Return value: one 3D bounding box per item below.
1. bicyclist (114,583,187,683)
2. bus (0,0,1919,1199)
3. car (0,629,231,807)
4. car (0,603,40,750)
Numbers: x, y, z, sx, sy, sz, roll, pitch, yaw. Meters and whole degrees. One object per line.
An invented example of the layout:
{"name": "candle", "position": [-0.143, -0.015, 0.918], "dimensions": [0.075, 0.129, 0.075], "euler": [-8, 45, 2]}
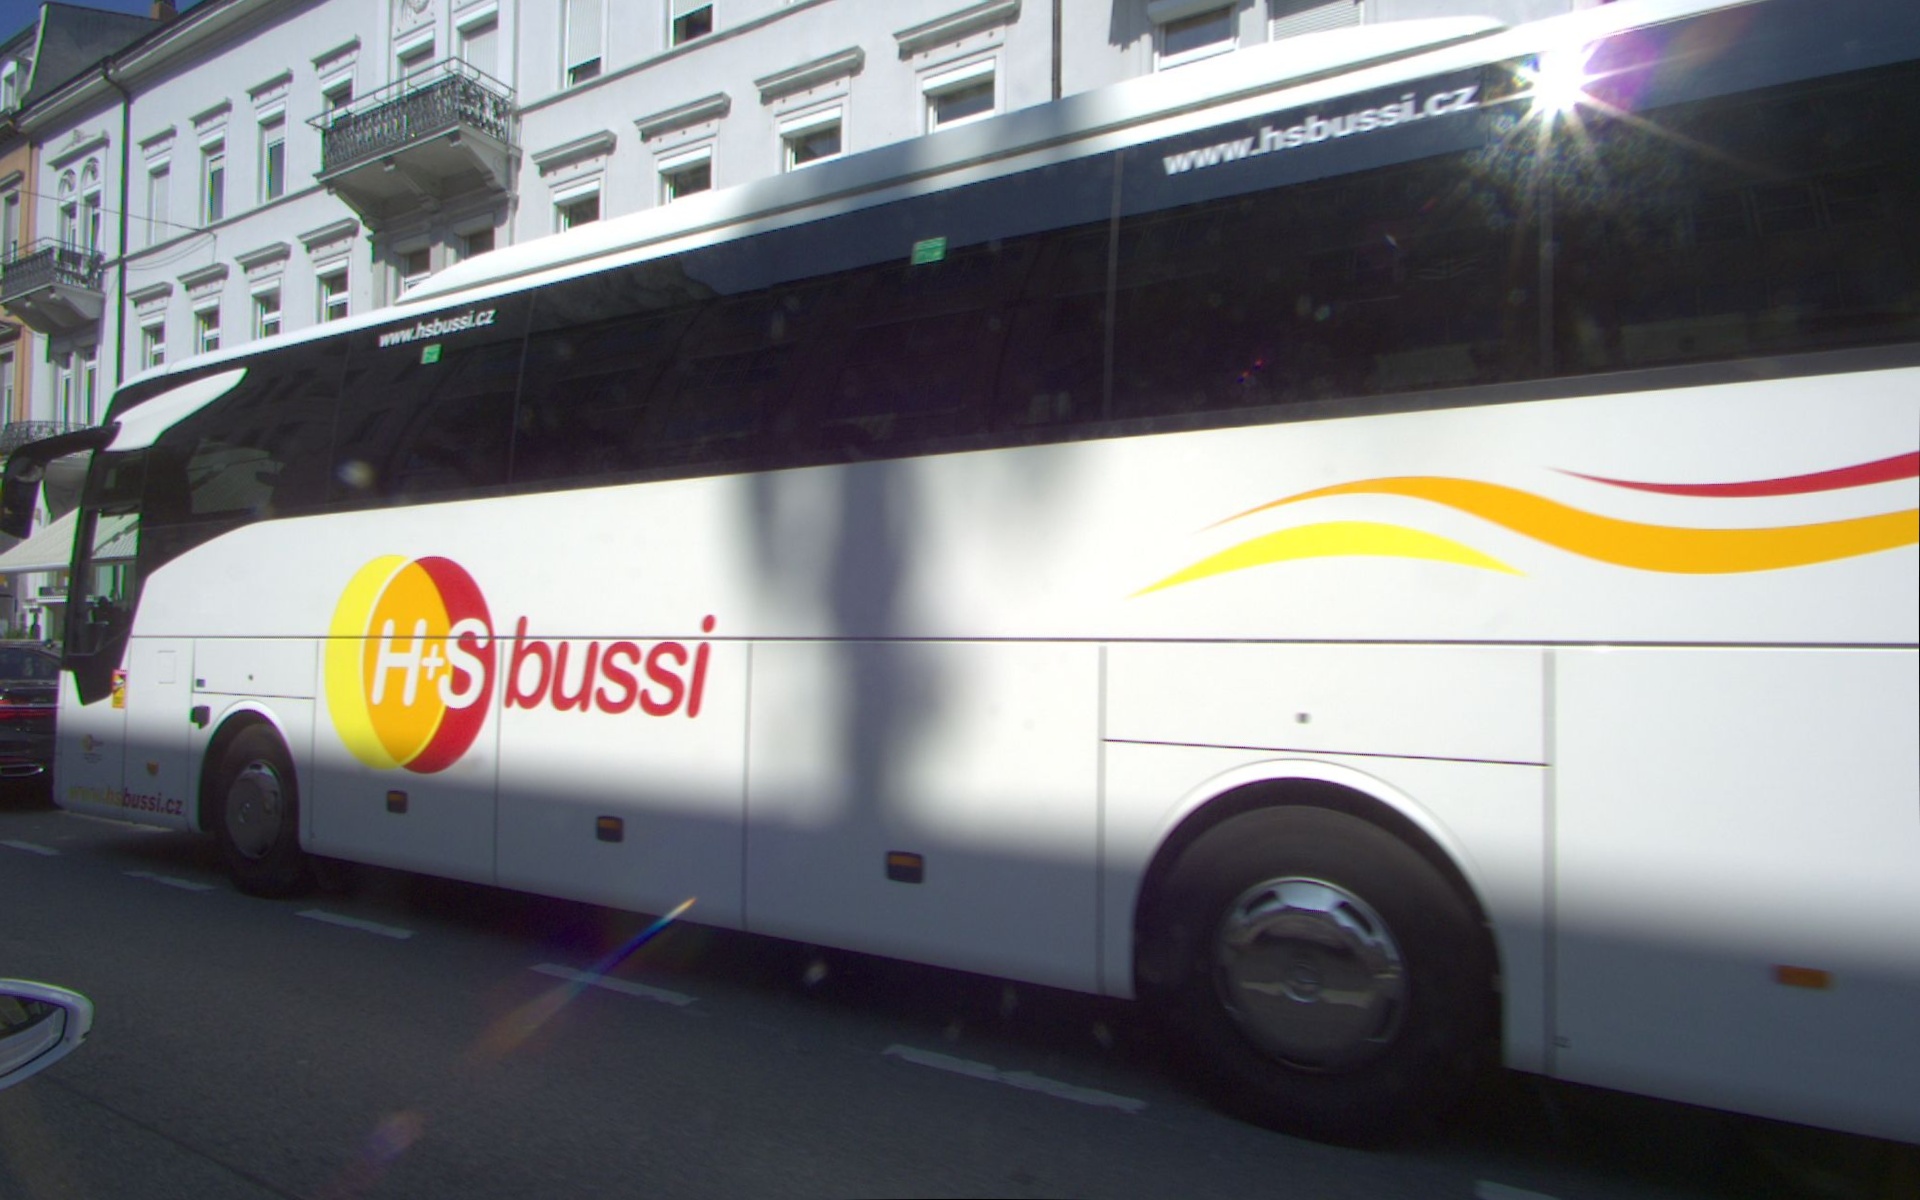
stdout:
{"name": "bicyclist", "position": [-14.294, 0.580, 17.688], "dimensions": [0.998, 1.706, 0.646], "euler": [0, -2, 30]}
{"name": "bus", "position": [-0.830, -0.154, 5.608], "dimensions": [12.232, 3.787, 2.883], "euler": [0, -4, 28]}
{"name": "car", "position": [-9.901, 1.070, 10.322], "dimensions": [5.146, 1.487, 1.859], "euler": [0, -4, 30]}
{"name": "car", "position": [-14.505, 0.932, 13.274], "dimensions": [4.283, 1.886, 1.829], "euler": [0, -4, 25]}
